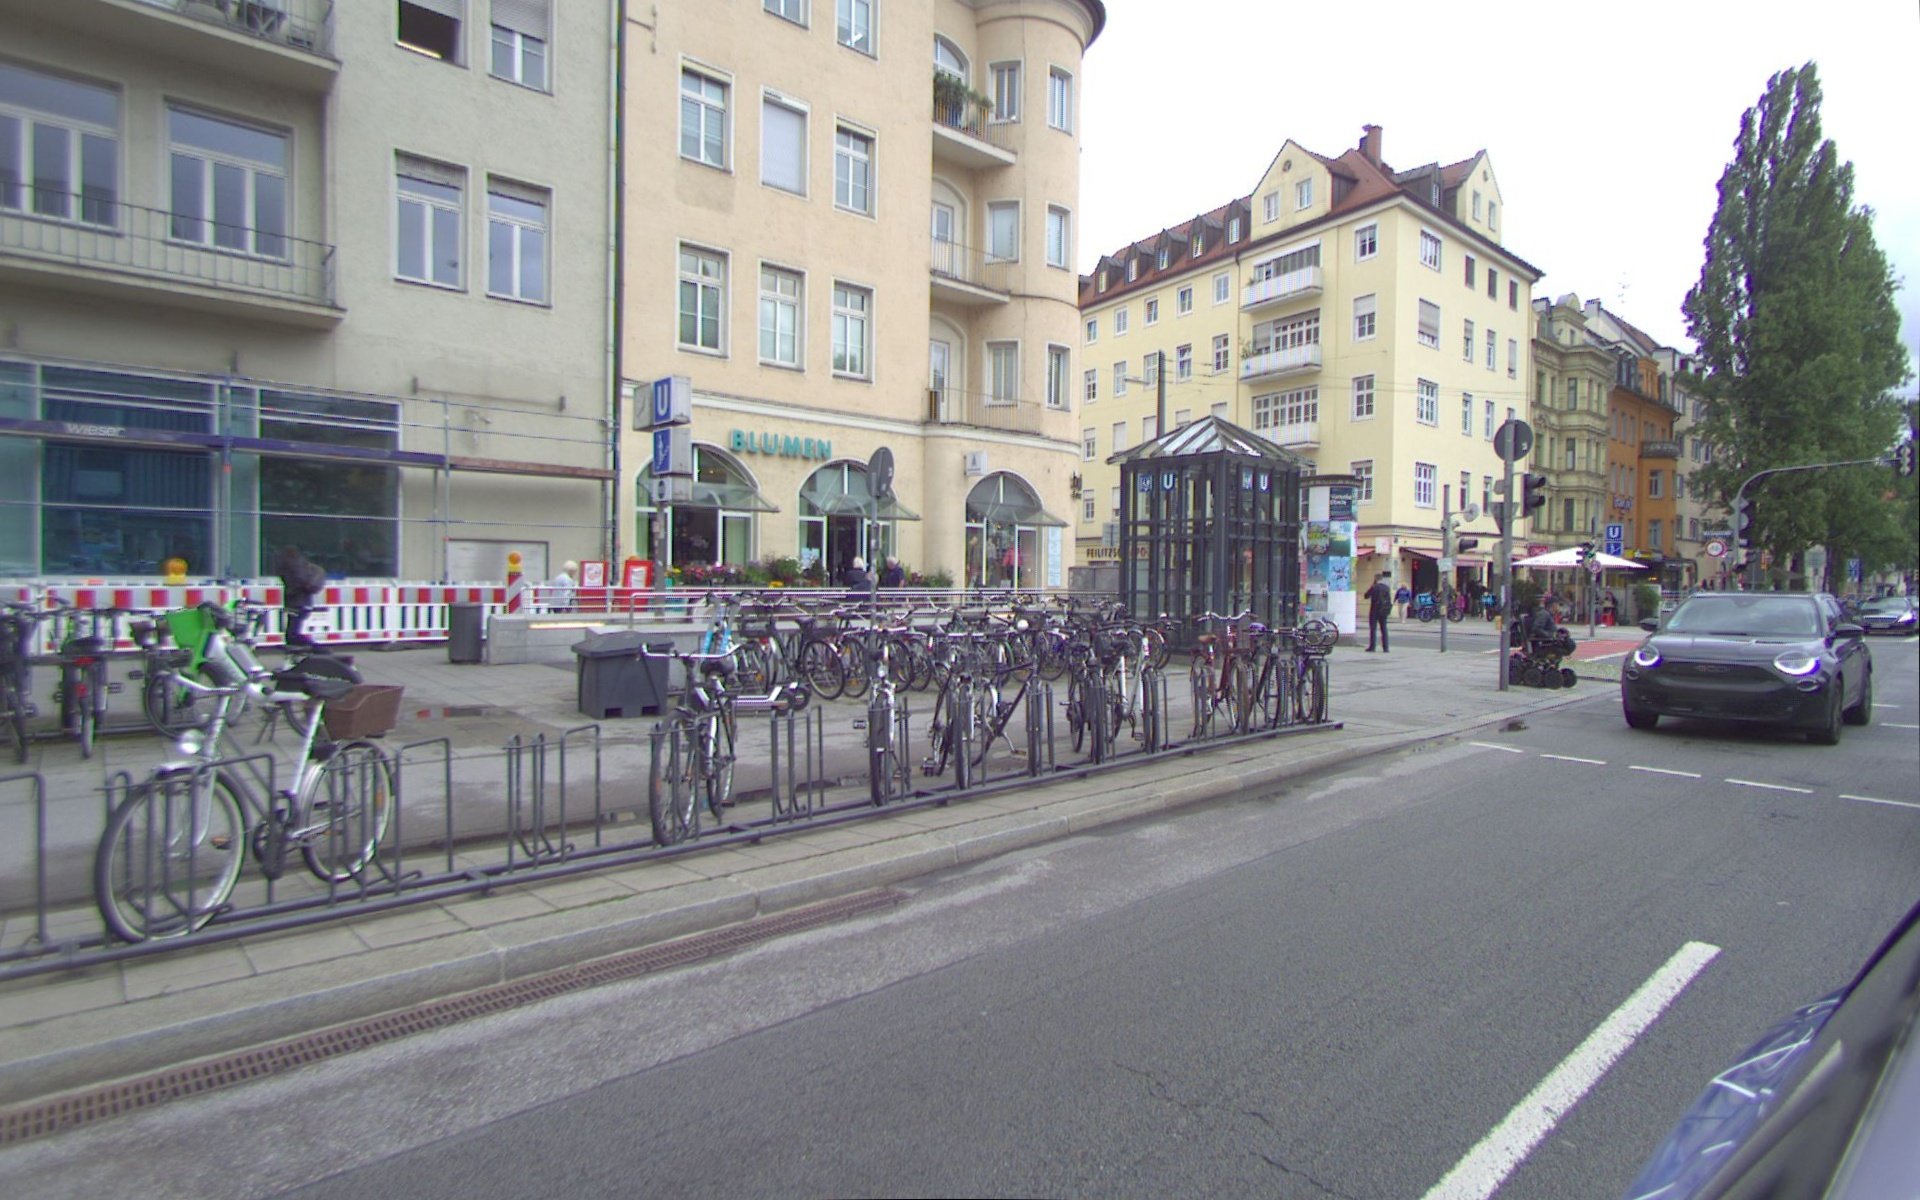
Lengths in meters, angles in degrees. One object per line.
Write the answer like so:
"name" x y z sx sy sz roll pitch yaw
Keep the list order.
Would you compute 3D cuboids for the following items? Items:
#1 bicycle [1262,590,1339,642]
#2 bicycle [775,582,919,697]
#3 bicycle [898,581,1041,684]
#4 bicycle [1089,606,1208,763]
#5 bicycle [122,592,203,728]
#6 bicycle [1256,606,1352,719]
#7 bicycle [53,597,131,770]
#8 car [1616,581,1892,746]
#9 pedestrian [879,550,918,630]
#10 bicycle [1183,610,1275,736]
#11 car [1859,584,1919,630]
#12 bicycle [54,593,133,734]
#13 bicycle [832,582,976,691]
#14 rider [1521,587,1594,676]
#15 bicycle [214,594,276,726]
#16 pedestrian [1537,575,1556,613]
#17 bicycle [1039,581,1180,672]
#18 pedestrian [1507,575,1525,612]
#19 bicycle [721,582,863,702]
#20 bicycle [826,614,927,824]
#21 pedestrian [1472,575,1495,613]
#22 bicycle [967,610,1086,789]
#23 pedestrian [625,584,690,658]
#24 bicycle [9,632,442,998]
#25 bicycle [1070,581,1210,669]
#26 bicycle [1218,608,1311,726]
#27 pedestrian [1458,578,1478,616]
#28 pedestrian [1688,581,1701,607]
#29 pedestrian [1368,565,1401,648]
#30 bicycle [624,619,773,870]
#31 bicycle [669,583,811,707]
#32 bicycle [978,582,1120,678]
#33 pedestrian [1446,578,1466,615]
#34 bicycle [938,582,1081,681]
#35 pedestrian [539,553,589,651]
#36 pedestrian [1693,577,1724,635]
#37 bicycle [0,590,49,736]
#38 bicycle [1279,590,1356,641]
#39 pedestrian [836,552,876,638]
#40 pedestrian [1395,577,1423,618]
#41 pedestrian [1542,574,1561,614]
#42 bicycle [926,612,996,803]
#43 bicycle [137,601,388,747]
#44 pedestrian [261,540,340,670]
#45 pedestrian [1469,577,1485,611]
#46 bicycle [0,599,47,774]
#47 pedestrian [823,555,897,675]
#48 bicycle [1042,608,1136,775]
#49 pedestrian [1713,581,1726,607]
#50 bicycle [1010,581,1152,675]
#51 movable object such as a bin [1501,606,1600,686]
"bicycle" 8.199 0.371 24.429 0.597 1.142 1.828 2 1 -28
"bicycle" -1.434 0.424 12.407 0.617 1.242 2.318 0 2 -38
"bicycle" 0.076 0.387 13.763 0.617 1.242 2.331 0 2 -38
"bicycle" 1.544 0.640 8.559 0.468 1.151 1.788 0 1 -7
"bicycle" -7.296 0.505 9.238 1.449 1.091 0.404 3 3 44
"bicycle" 3.559 0.631 10.599 0.390 1.073 1.851 0 -2 1
"bicycle" -6.534 0.566 7.595 0.403 1.091 1.653 0 3 -42
"car" 8.845 0.546 11.156 3.981 1.488 1.738 0 1 -42
"pedestrian" -1.391 -0.237 22.752 0.634 1.760 0.617 -2 3 -42
"bicycle" 2.500 0.653 9.576 0.390 1.073 1.851 0 -2 1
"car" 35.621 0.228 38.349 3.931 1.644 1.853 -1 1 -41
"bicycle" -7.623 0.514 8.885 1.449 1.091 0.404 3 3 44
"bicycle" -0.775 0.416 13.052 0.617 1.242 2.343 0 2 -38
"rider" 9.022 0.459 15.280 0.721 1.256 0.731 -1 4 -44
"bicycle" -6.839 0.520 9.658 0.403 1.091 1.651 0 3 -38
"pedestrian" 26.141 -0.275 45.118 0.575 1.705 0.552 0 1 -40
"bicycle" 2.223 0.357 15.383 0.617 1.242 2.318 0 2 -38
"pedestrian" 26.237 -0.302 47.733 0.575 1.705 0.552 0 1 -40
"bicycle" -2.052 0.436 12.049 0.617 1.242 2.343 0 2 -38
"bicycle" -0.563 0.692 6.715 0.578 1.151 1.798 0 1 -5
"pedestrian" 23.201 -0.278 44.875 0.672 1.687 0.622 1 1 5
"bicycle" 0.454 0.667 7.595 0.468 1.151 1.681 0 1 -11
"pedestrian" -5.421 0.356 18.159 0.904 1.260 0.700 -2 3 -42
"bicycle" -2.947 0.754 4.321 0.481 1.151 1.794 0 1 3
"bicycle" 2.762 0.345 15.837 0.617 1.242 2.318 0 2 -38
"bicycle" 3.016 0.644 10.160 0.390 1.073 1.851 0 -2 1
"pedestrian" 21.220 -0.137 42.244 0.575 1.545 0.528 0 1 -40
"pedestrian" 48.905 -0.418 67.382 0.575 1.705 0.552 0 1 -40
"pedestrian" 9.361 0.136 22.296 0.634 1.799 0.605 1 1 26
"bicycle" -1.433 0.715 5.798 0.480 1.151 1.797 0 1 -3
"bicycle" -2.582 0.448 11.642 0.617 1.242 2.368 0 2 -38
"bicycle" 1.232 0.380 14.580 0.617 1.242 2.318 0 2 -38
"pedestrian" 20.881 -0.138 42.620 0.575 1.545 0.528 0 1 -40
"bicycle" 0.646 0.392 14.239 0.617 1.242 2.318 0 2 -38
"pedestrian" -6.480 0.020 16.553 0.580 1.560 0.565 -2 3 -42
"pedestrian" 24.442 0.190 33.041 0.729 1.823 0.701 2 3 40
"bicycle" -7.998 0.489 8.517 1.449 1.091 0.404 3 3 44
"bicycle" 8.734 0.359 24.784 0.597 1.142 1.828 2 1 -28
"pedestrian" -2.123 -0.118 20.683 0.580 1.722 0.565 -2 3 -42
"pedestrian" 17.513 -0.103 39.511 0.818 1.586 0.714 -1 0 -41
"pedestrian" 25.865 -0.257 44.254 0.575 1.705 0.552 0 1 -40
"bicycle" -0.019 0.681 7.085 0.341 1.151 1.527 0 0 -5
"bicycle" -5.571 0.578 8.122 1.728 1.091 0.410 1 2 -1
"pedestrian" -8.697 0.053 13.347 0.819 1.652 0.564 0 1 -38
"pedestrian" 23.793 -0.267 46.548 0.525 1.545 0.578 2 1 36
"bicycle" -6.895 0.574 7.334 0.403 1.091 1.603 0 3 -42
"pedestrian" -1.484 0.200 15.032 0.804 1.713 0.747 2 1 35
"bicycle" 0.982 0.655 8.023 0.469 1.151 1.679 0 1 -2
"pedestrian" 50.284 -0.425 66.996 0.575 1.705 0.552 0 1 -40
"bicycle" 1.734 0.369 14.951 0.617 1.242 2.318 0 2 -38
"movable object such as a bin" 8.941 0.670 15.335 0.735 1.075 1.088 -1 4 -44
